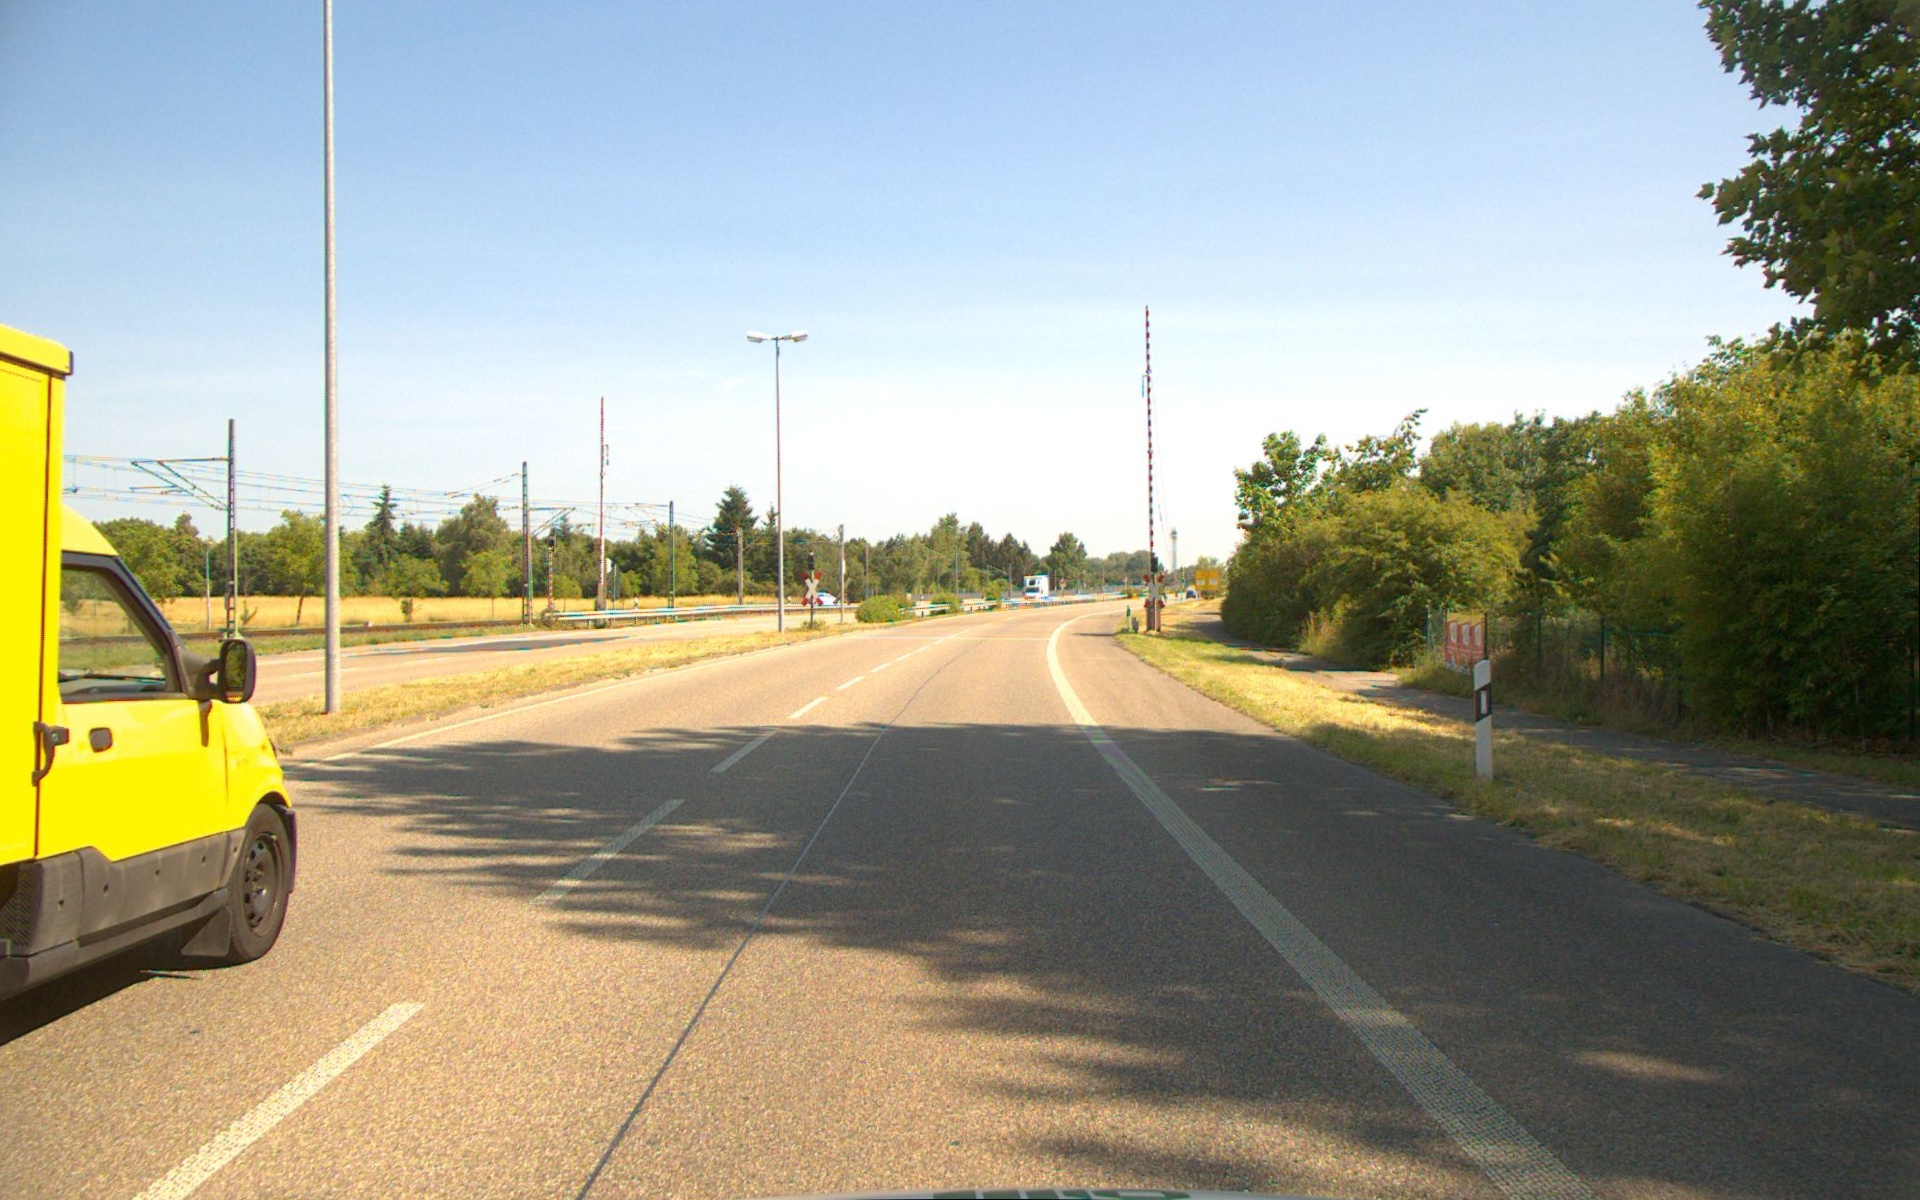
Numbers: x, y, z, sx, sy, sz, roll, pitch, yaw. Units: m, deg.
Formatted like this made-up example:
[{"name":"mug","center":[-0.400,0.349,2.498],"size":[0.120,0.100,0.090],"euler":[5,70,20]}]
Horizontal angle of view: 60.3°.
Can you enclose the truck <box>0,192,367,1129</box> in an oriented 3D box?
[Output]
[{"name":"truck","center":[-3.593,0.160,4.356],"size":[2.069,2.500,5.915],"euler":[0,0,-2]}]

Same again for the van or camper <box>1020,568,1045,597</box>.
[{"name":"van or camper","center":[9.890,-2.388,225.520],"size":[2.818,3.744,8.642],"euler":[-1,0,-1]}]
